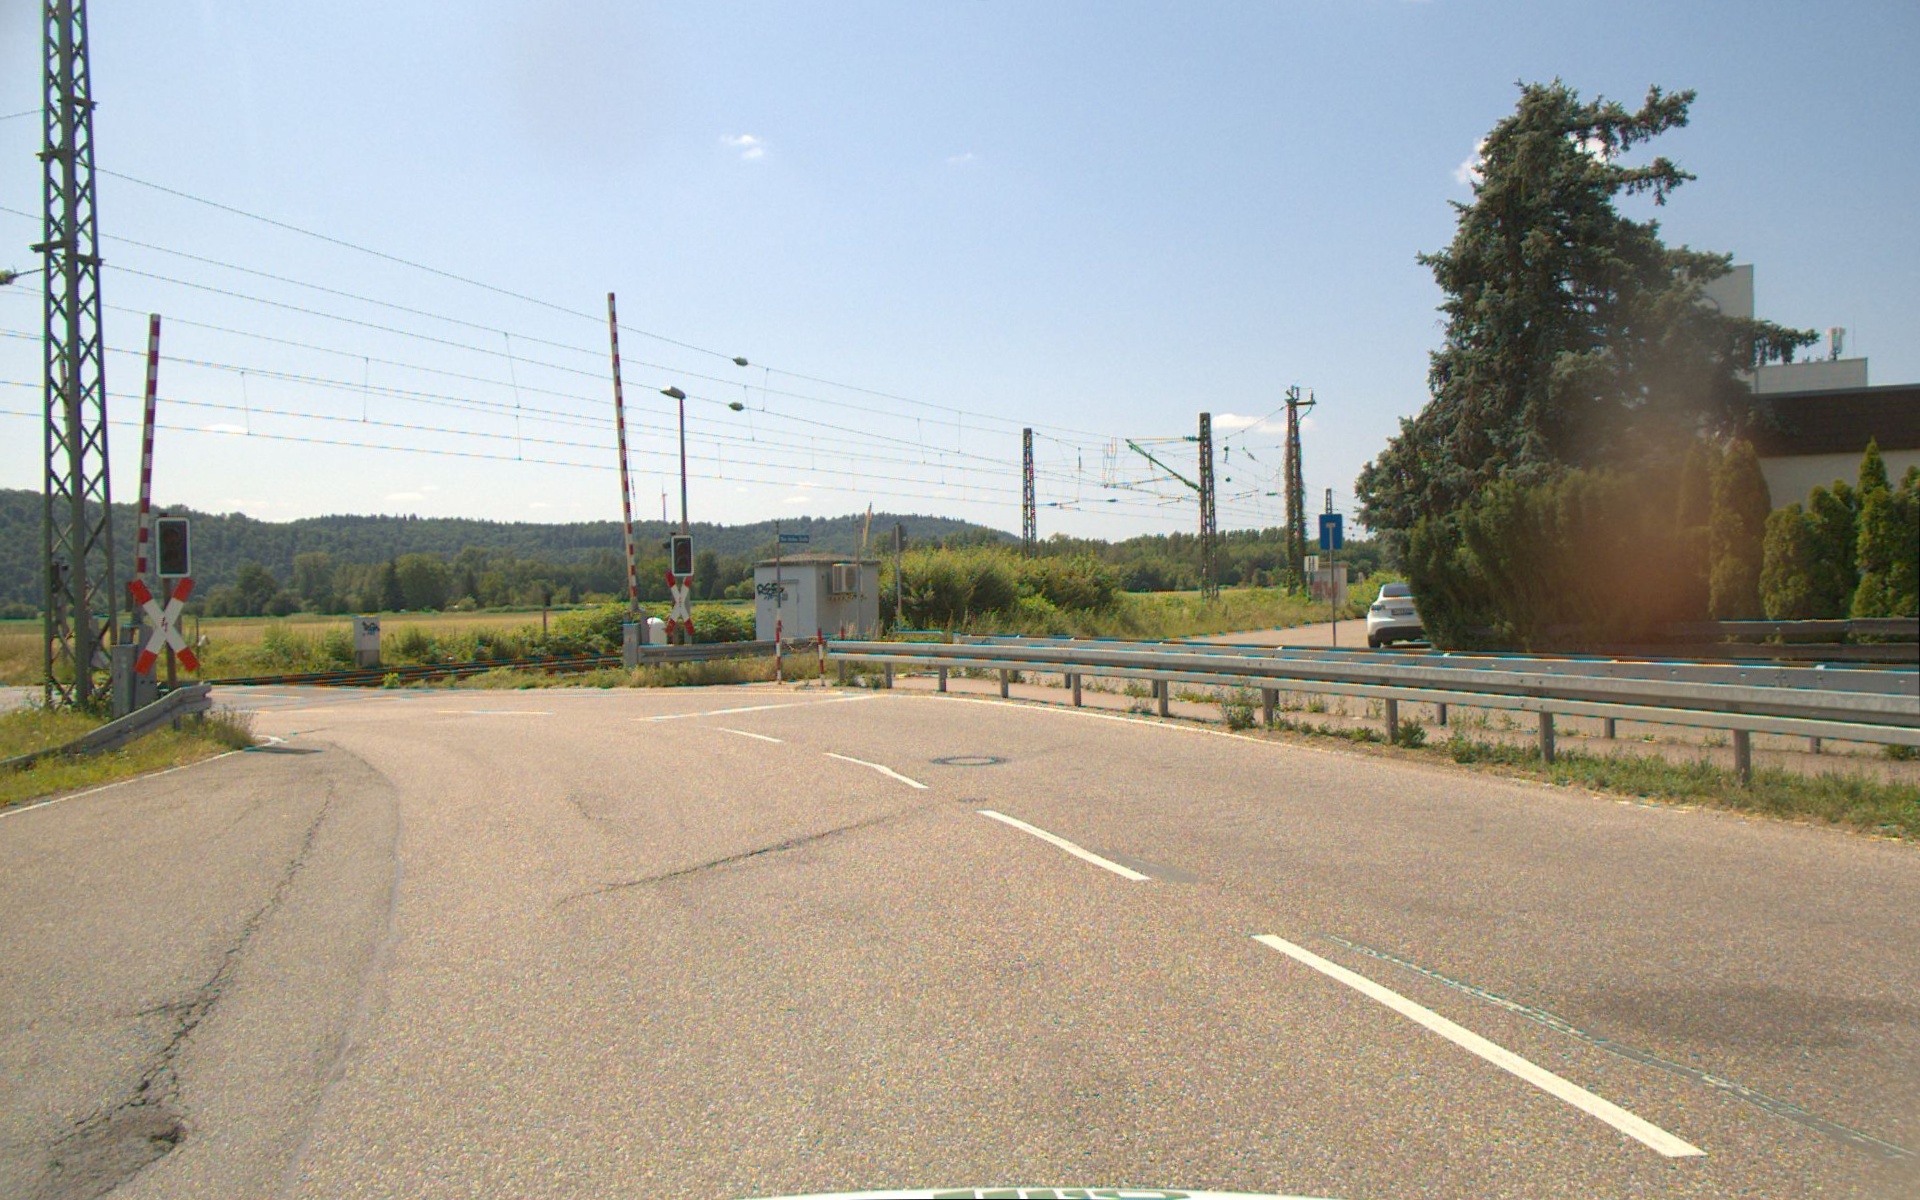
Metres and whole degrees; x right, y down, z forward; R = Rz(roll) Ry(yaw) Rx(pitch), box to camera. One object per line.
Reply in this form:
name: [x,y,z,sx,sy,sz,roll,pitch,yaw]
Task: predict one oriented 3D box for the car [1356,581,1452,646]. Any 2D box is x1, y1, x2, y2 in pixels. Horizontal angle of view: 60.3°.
car: [11.570,0.314,42.911,1.952,1.536,4.455,-2,0,21]
